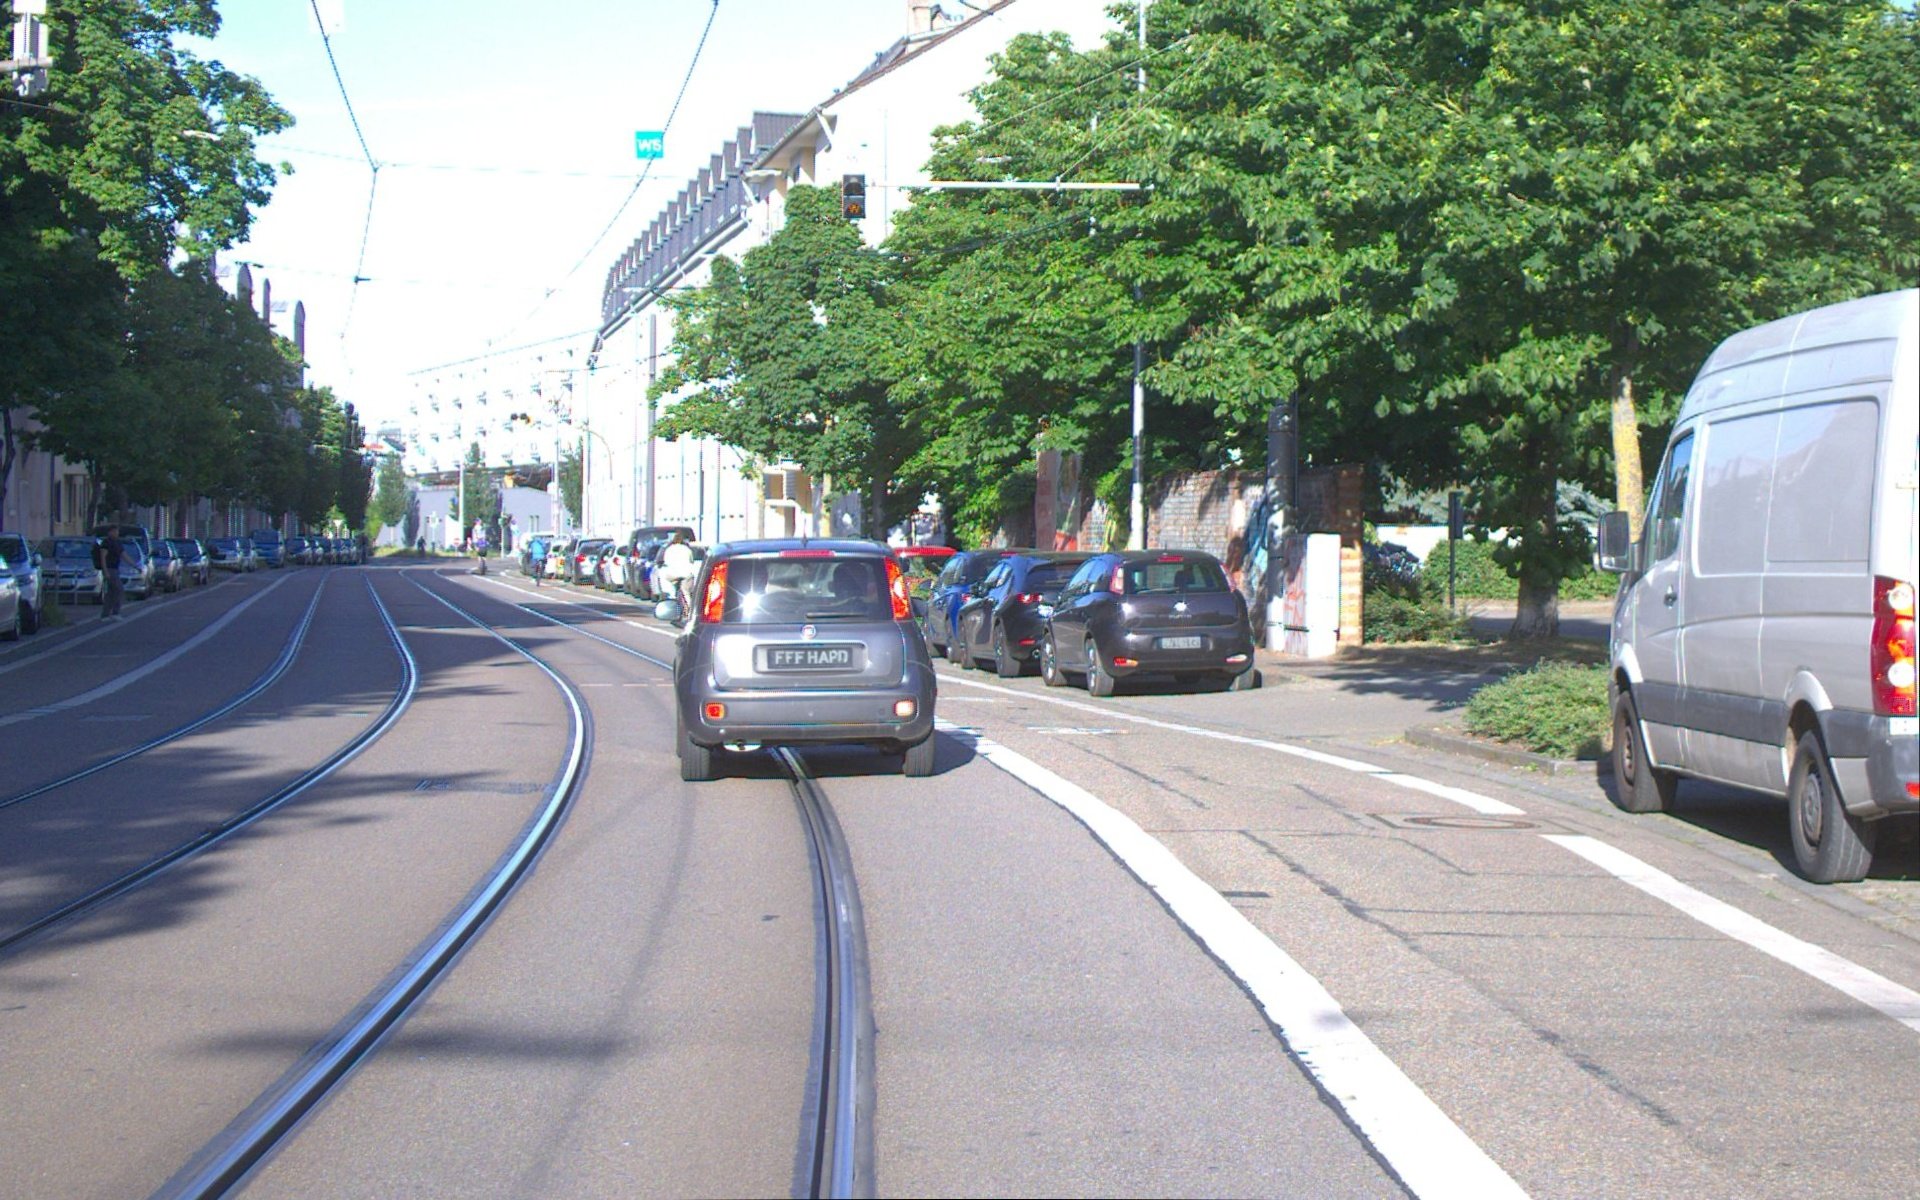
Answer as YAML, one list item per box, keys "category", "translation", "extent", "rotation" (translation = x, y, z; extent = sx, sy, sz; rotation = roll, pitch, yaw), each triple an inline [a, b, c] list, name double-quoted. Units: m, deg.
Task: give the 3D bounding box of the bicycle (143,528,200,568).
- category: "bicycle"
  translation: [-24.754, -1.636, 107.924]
  extent: [1.728, 1.192, 0.373]
  rotation: [2, 1, -13]

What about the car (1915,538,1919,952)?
- category: "car"
  translation: [4.532, 0.578, 10.422]
  extent: [1.910, 1.524, 4.601]
  rotation: [0, 1, -1]

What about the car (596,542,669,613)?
- category: "car"
  translation: [-9.657, -0.683, 101.076]
  extent: [1.655, 1.937, 4.666]
  rotation: [2, 1, -11]

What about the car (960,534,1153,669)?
- category: "car"
  translation: [1.105, -0.024, 41.299]
  extent: [1.688, 1.525, 4.356]
  rotation: [-1, 1, -7]

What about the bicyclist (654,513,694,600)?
- category: "bicyclist"
  translation: [-5.917, -0.900, 71.135]
  extent: [0.699, 1.753, 0.758]
  rotation: [2, 1, -11]

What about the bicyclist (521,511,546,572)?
- category: "bicyclist"
  translation: [-14.171, -1.942, 114.189]
  extent: [0.715, 2.007, 0.832]
  rotation: [2, 1, -11]

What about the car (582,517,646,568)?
- category: "car"
  translation: [-10.793, -1.798, 107.114]
  extent: [1.655, 1.495, 3.131]
  rotation: [2, 1, -11]

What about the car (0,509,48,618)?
- category: "car"
  translation: [-15.555, -0.633, 55.244]
  extent: [1.651, 1.662, 4.298]
  rotation: [2, 1, -14]

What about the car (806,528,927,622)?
- category: "car"
  translation: [-1.623, -0.452, 58.412]
  extent: [1.688, 1.525, 4.001]
  rotation: [-1, 1, -7]

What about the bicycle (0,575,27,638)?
- category: "bicycle"
  translation: [-13.636, 0.053, 46.057]
  extent: [2.127, 0.822, 0.477]
  rotation: [2, 1, -10]

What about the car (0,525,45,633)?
- category: "car"
  translation: [-14.327, -0.349, 49.530]
  extent: [1.688, 1.470, 4.661]
  rotation: [2, 1, -9]

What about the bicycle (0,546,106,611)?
- category: "bicycle"
  translation: [-15.742, -0.375, 59.225]
  extent: [1.924, 1.042, 0.476]
  rotation: [2, 1, -9]

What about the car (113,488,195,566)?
- category: "car"
  translation: [-21.077, -1.916, 90.019]
  extent: [1.808, 1.937, 4.335]
  rotation: [2, 1, -10]

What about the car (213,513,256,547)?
- category: "car"
  translation: [-33.616, -3.258, 159.303]
  extent: [1.706, 1.491, 3.723]
  rotation: [2, 1, -9]

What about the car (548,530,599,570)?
- category: "car"
  translation: [-14.330, -1.874, 127.376]
  extent: [1.582, 1.400, 3.377]
  rotation: [2, 1, -11]

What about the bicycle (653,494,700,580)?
- category: "bicycle"
  translation: [-5.868, -1.305, 71.020]
  extent: [0.675, 1.741, 2.158]
  rotation: [2, 1, -11]

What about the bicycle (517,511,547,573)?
- category: "bicycle"
  translation: [-14.191, -1.937, 114.031]
  extent: [0.741, 2.007, 2.813]
  rotation: [2, 1, -11]

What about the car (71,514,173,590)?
- category: "car"
  translation: [-17.748, -1.034, 72.957]
  extent: [1.808, 1.503, 4.192]
  rotation: [2, 1, -10]

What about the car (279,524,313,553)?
- category: "car"
  translation: [-36.440, -3.380, 188.698]
  extent: [1.706, 1.491, 3.723]
  rotation: [2, 1, -9]

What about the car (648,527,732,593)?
- category: "car"
  translation: [-6.754, -1.021, 85.762]
  extent: [1.655, 1.566, 3.500]
  rotation: [2, 1, -11]

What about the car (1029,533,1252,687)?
- category: "car"
  translation: [1.850, 0.062, 36.370]
  extent: [1.688, 1.525, 4.001]
  rotation: [-1, 1, -7]

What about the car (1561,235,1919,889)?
- category: "car"
  translation: [4.702, -0.223, 17.057]
  extent: [2.180, 2.656, 6.092]
  rotation: [-1, 1, -1]

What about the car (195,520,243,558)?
- category: "car"
  translation: [-31.167, -2.570, 144.642]
  extent: [1.706, 1.491, 3.723]
  rotation: [2, 1, -9]

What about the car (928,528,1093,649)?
- category: "car"
  translation: [0.632, -0.185, 45.987]
  extent: [1.688, 1.525, 4.001]
  rotation: [-1, 1, -7]

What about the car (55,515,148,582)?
- category: "car"
  translation: [-20.533, -1.255, 82.371]
  extent: [1.808, 1.503, 4.682]
  rotation: [2, 1, -10]

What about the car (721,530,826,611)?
- category: "car"
  translation: [-3.684, -0.598, 67.594]
  extent: [1.635, 1.503, 3.398]
  rotation: [-2, 1, -10]

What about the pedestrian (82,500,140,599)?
- category: "pedestrian"
  translation: [-15.373, -0.921, 62.241]
  extent: [0.849, 1.770, 0.735]
  rotation: [-1, 2, -30]

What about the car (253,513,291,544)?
- category: "car"
  translation: [-34.644, -3.609, 173.129]
  extent: [1.706, 1.491, 3.723]
  rotation: [2, 1, -9]

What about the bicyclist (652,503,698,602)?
- category: "bicyclist"
  translation: [-5.126, -0.856, 61.782]
  extent: [0.699, 1.753, 0.758]
  rotation: [2, 1, -11]

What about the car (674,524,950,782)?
- category: "car"
  translation: [-0.907, 0.285, 22.986]
  extent: [1.650, 1.536, 4.235]
  rotation: [1, 1, 0]

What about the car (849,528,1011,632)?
- category: "car"
  translation: [-0.508, -0.338, 52.854]
  extent: [1.688, 1.525, 4.001]
  rotation: [-1, 1, -12]

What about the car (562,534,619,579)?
- category: "car"
  translation: [-12.380, -1.476, 115.152]
  extent: [1.582, 1.400, 3.377]
  rotation: [-3, 2, -11]

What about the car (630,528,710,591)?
- category: "car"
  translation: [-7.653, -1.075, 90.540]
  extent: [1.655, 1.566, 3.877]
  rotation: [2, 1, -11]

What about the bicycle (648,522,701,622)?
- category: "bicycle"
  translation: [-5.155, -0.519, 61.958]
  extent: [0.675, 1.741, 2.158]
  rotation: [2, 1, -11]

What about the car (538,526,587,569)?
- category: "car"
  translation: [-15.484, -2.038, 133.884]
  extent: [1.582, 1.593, 3.377]
  rotation: [2, 1, -11]

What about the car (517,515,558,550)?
- category: "car"
  translation: [-19.578, -3.128, 159.164]
  extent: [1.582, 1.593, 3.377]
  rotation: [2, 1, -11]
